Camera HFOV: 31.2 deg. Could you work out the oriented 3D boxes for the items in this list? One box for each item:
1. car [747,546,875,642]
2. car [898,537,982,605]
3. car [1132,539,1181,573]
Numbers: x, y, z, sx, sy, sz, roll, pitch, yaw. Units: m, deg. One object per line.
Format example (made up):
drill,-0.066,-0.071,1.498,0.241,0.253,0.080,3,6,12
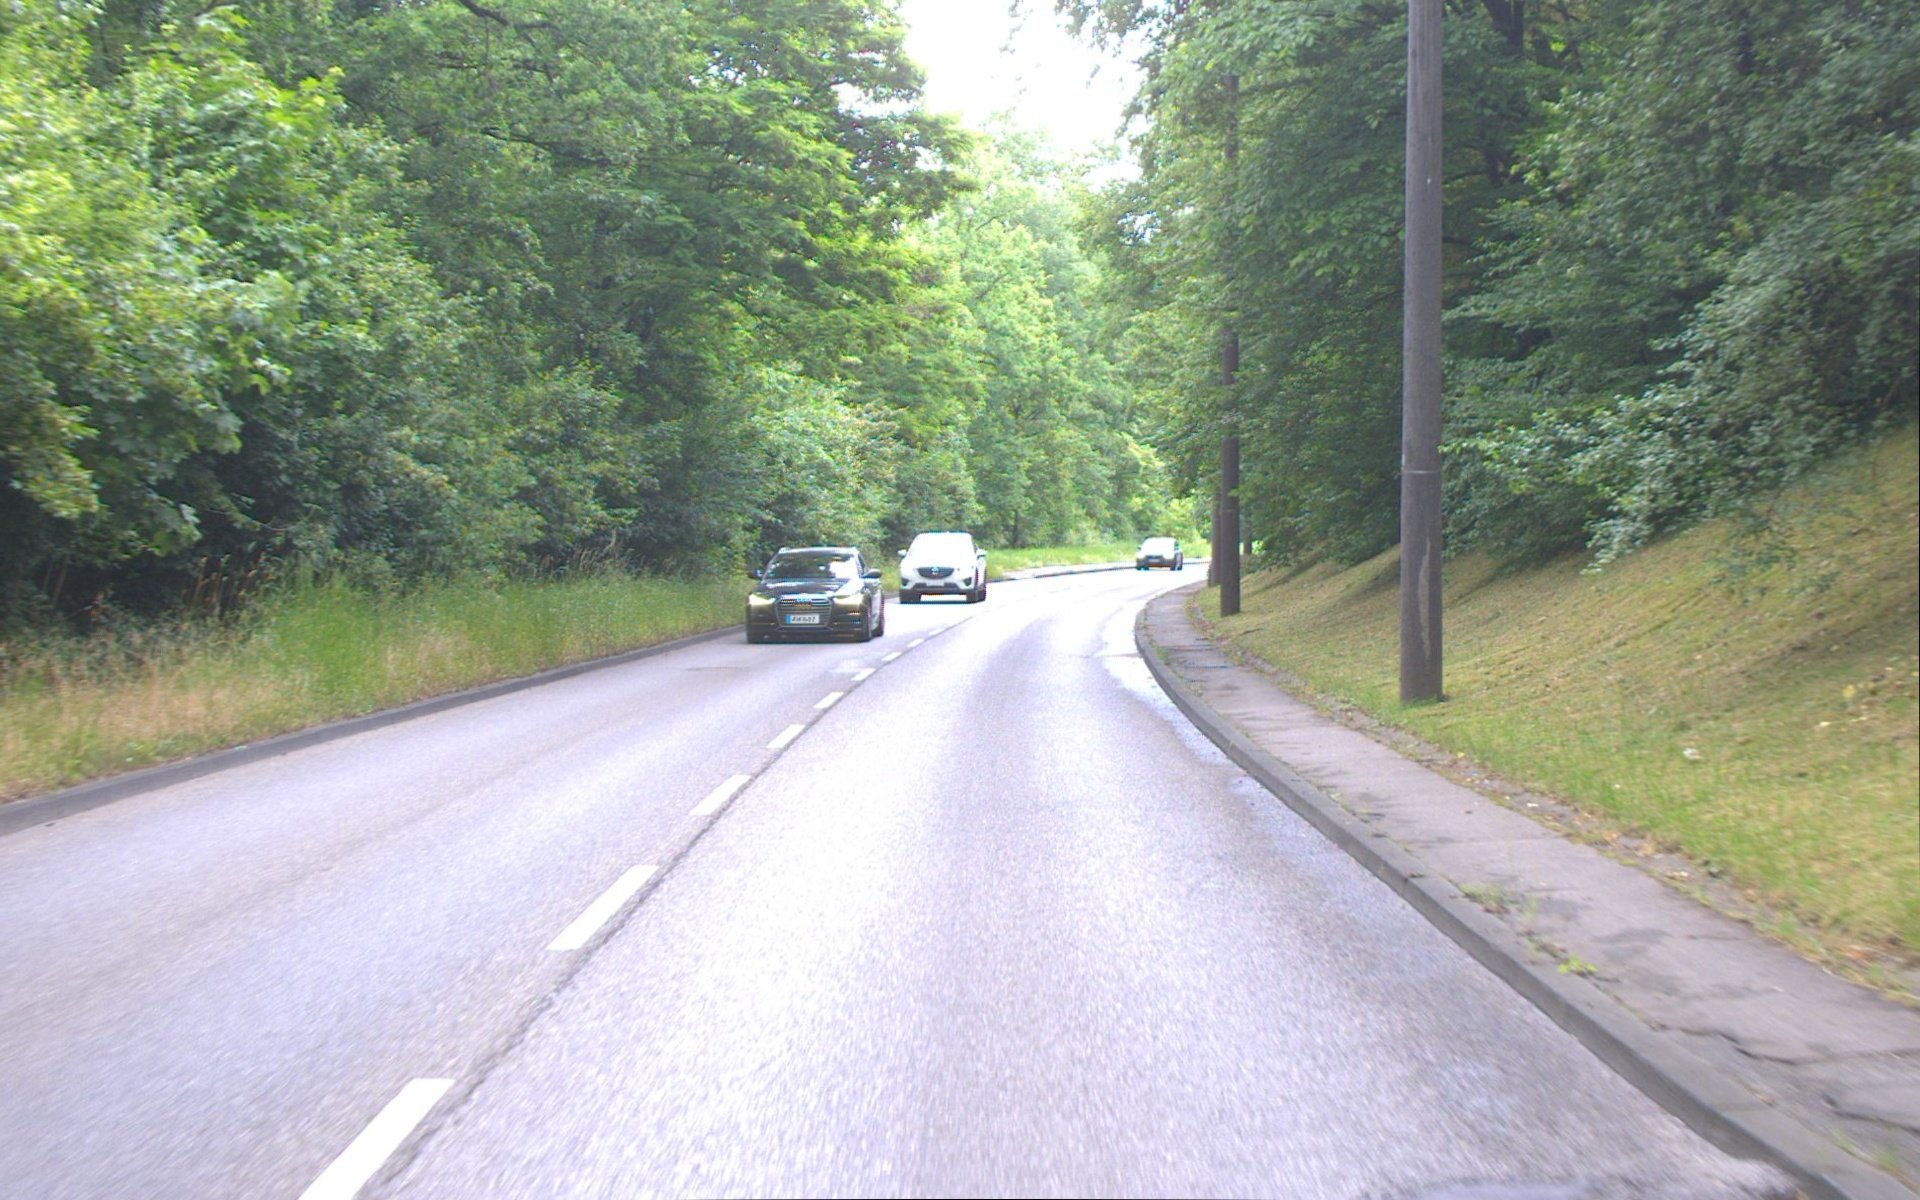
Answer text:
car,-2.255,-0.122,52.896,1.810,1.415,4.000,0,1,0
car,-0.476,-0.715,82.478,1.942,1.576,4.441,0,1,0
car,8.983,-2.030,157.373,1.993,1.537,4.000,0,1,0
